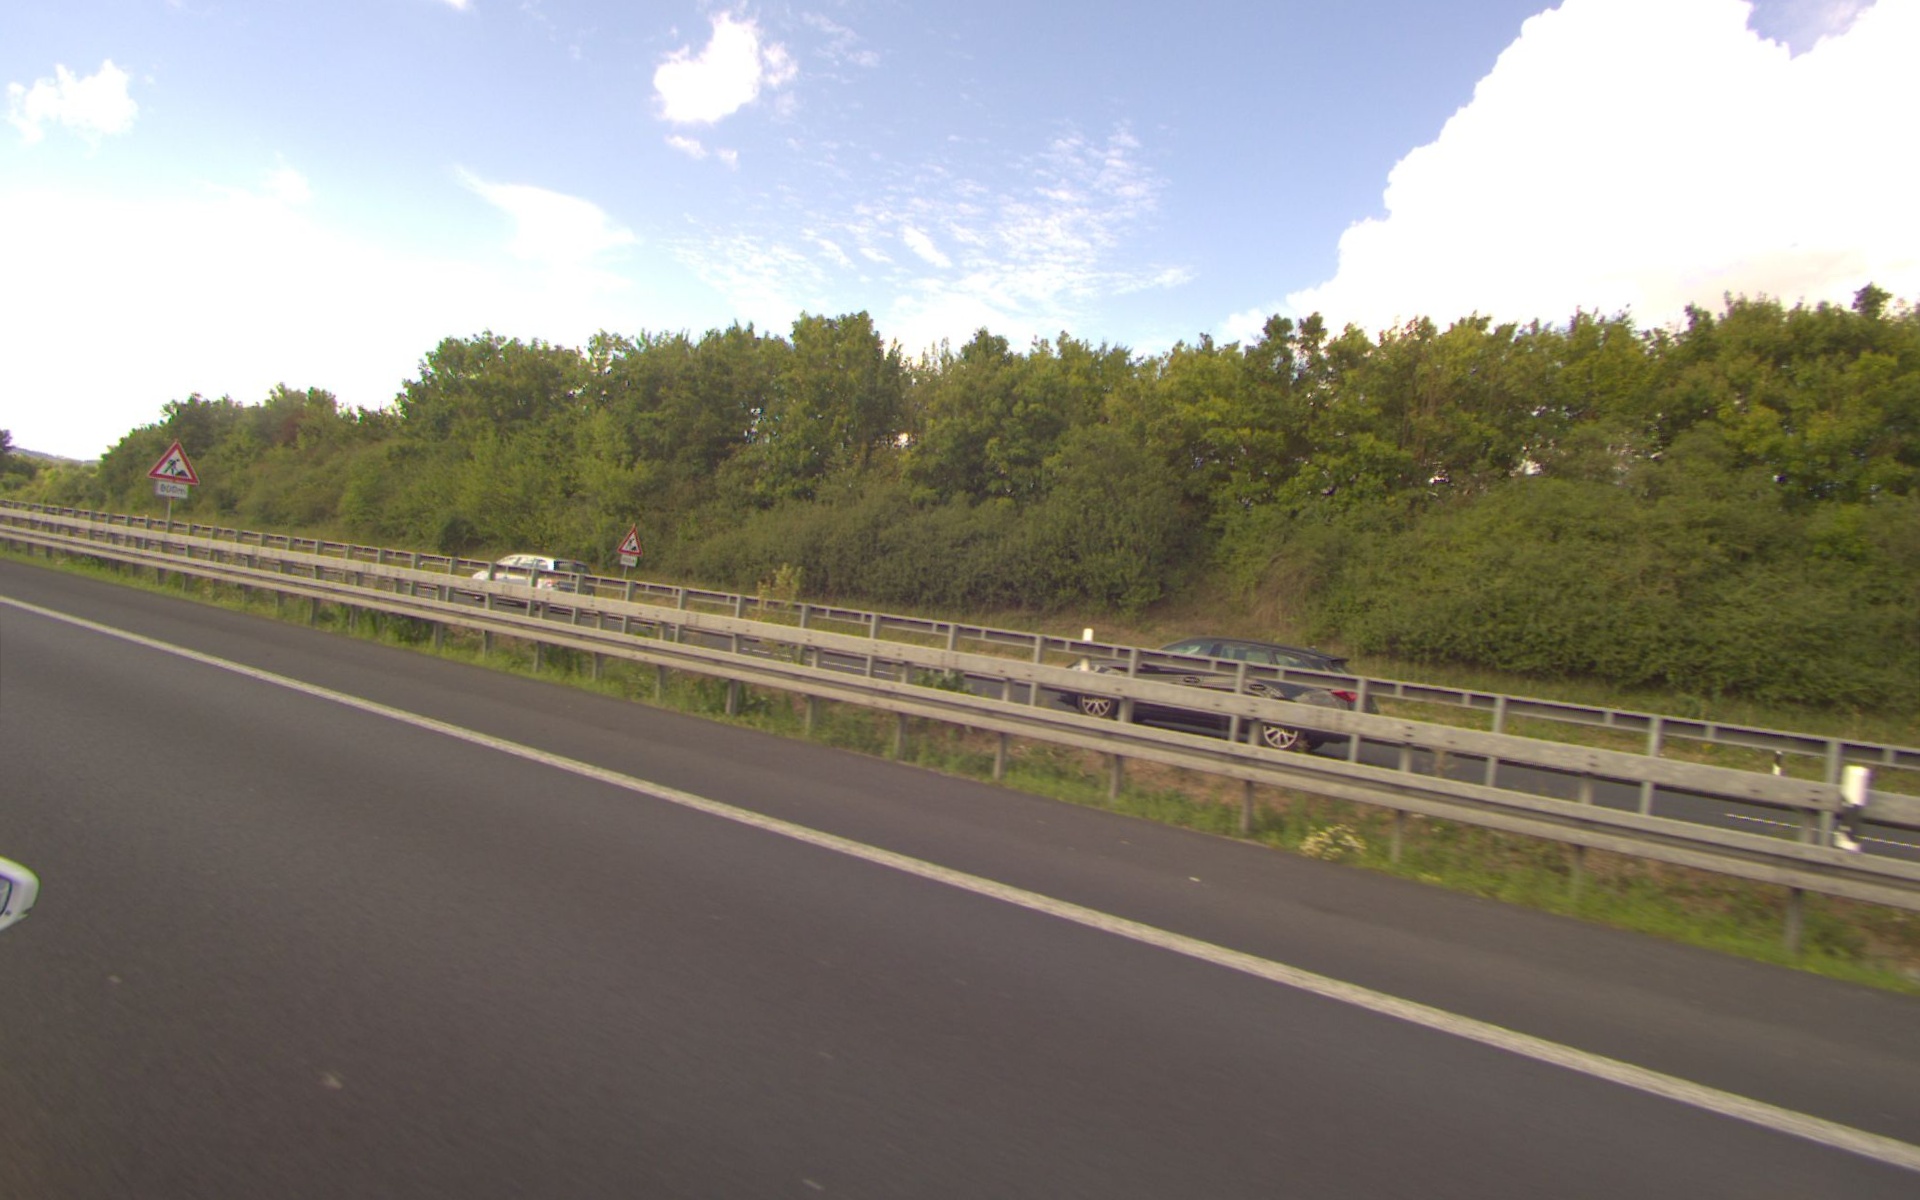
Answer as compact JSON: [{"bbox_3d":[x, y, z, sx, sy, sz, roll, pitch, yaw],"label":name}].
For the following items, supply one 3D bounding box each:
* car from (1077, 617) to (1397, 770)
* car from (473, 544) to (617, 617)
[{"bbox_3d":[3.947,1.260,14.425,3.933,1.502,1.996,6,0,31],"label":"car"},{"bbox_3d":[-12.561,-0.596,30.410,3.934,1.730,1.995,6,1,32],"label":"car"}]
